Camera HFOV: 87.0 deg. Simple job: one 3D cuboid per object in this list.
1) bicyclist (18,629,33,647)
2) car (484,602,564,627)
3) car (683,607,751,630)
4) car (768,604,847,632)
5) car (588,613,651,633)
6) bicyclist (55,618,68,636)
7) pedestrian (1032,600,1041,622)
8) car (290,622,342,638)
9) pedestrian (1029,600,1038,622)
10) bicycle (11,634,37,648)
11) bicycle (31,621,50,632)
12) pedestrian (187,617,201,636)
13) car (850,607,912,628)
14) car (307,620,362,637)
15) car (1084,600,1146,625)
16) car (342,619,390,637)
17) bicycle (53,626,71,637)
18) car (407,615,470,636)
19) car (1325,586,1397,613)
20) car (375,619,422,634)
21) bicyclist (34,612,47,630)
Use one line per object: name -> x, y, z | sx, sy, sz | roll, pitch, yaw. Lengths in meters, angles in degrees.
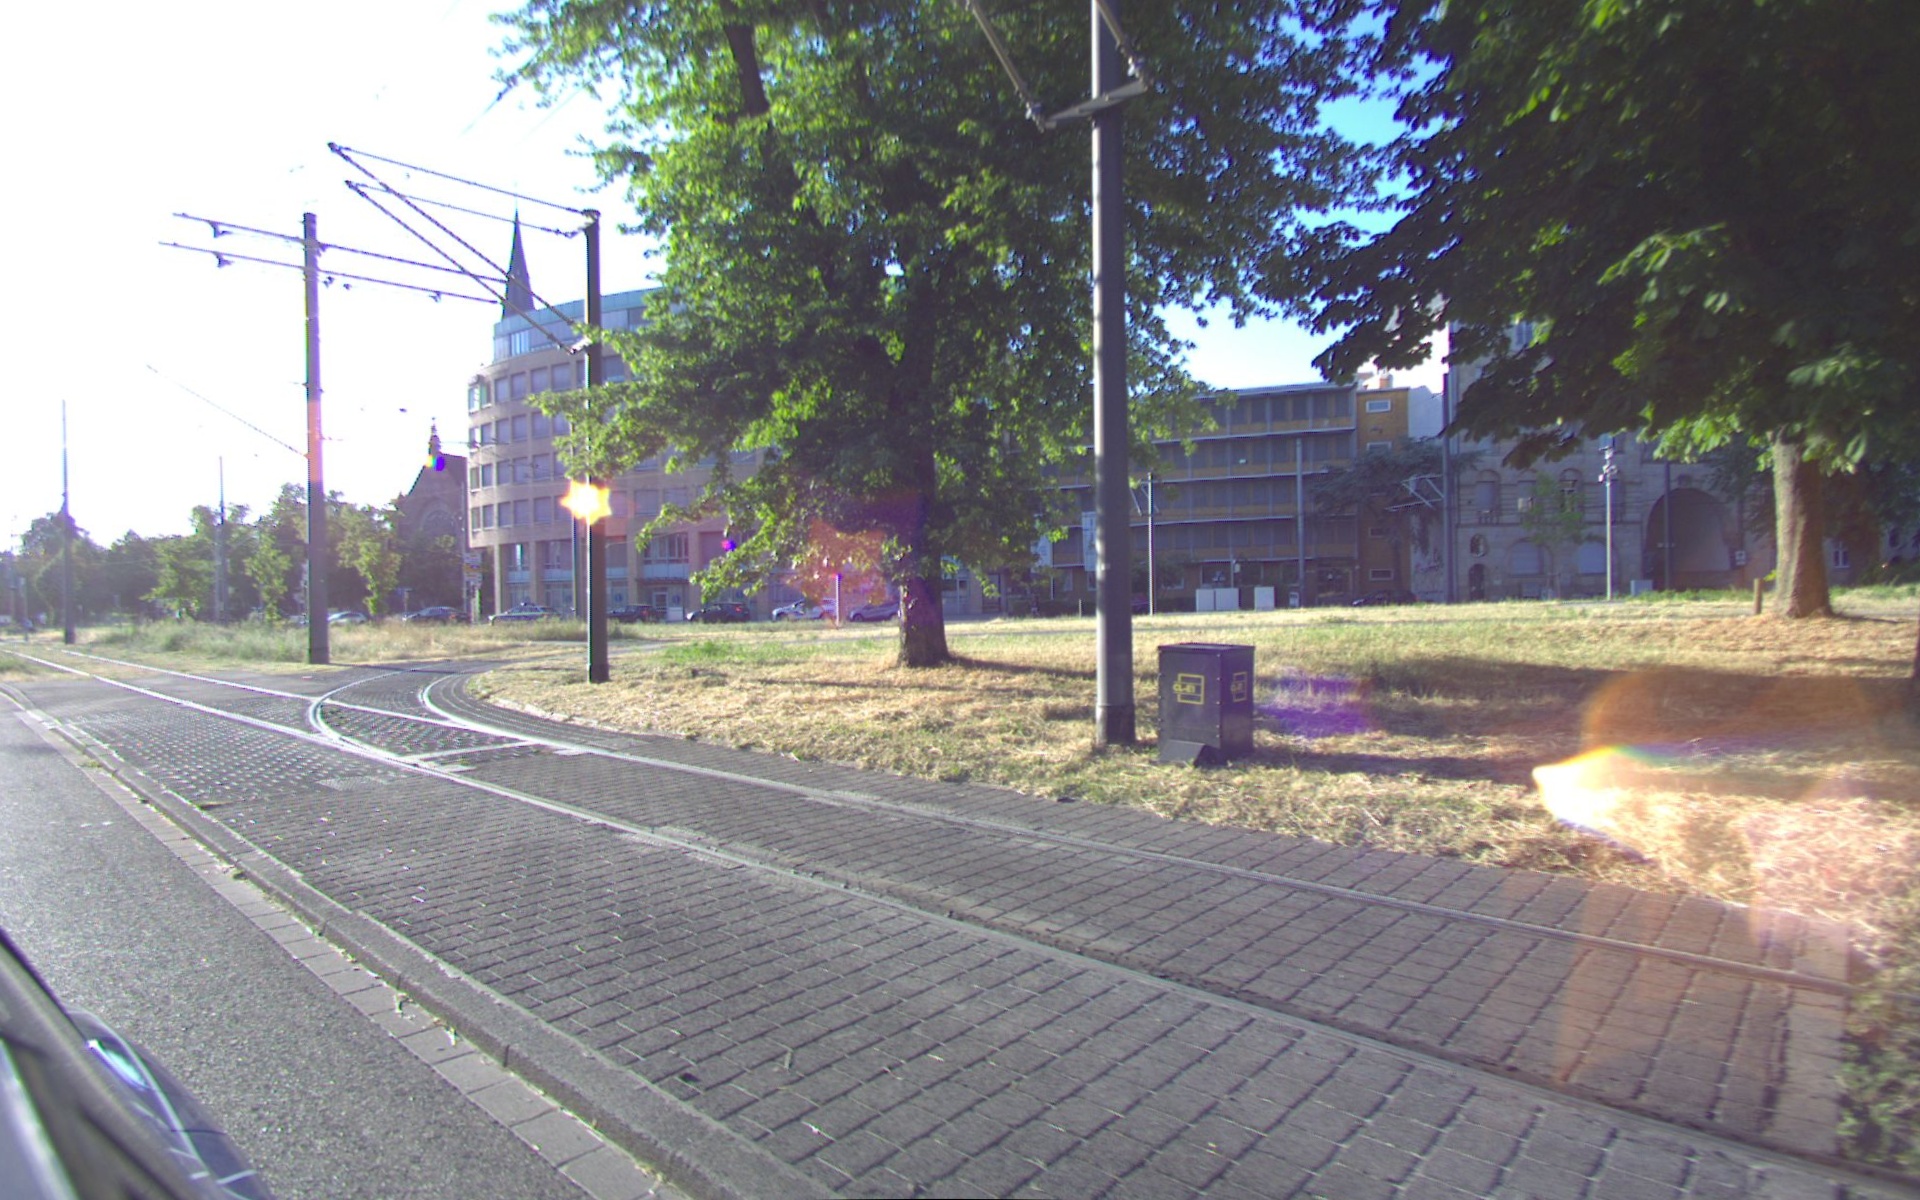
bicyclist -> -83.738, 3.400, 90.731 | 0.809, 1.595, 0.521 | -2, 1, 1
car -> -28.487, 0.923, 66.094 | 4.743, 1.491, 1.883 | -2, 0, 19
car -> -14.750, 1.137, 61.519 | 3.707, 1.291, 1.642 | -2, 0, 17
car -> -9.024, 1.048, 59.874 | 4.267, 1.493, 1.768 | -2, 0, 14
car -> -21.391, 1.454, 63.547 | 3.568, 1.162, 1.516 | -2, 0, 18
bicyclist -> -88.964, 2.671, 100.216 | 0.887, 1.693, 0.571 | -2, 1, 19
pedestrian -> 5.077, 0.727, 67.332 | 0.481, 1.441, 0.412 | -2, -1, 19
car -> -62.759, 2.952, 98.747 | 1.887, 1.431, 3.975 | -1, 0, 19
pedestrian -> 4.818, 0.747, 66.632 | 0.481, 1.441, 0.412 | -2, -1, 19
bicycle -> -83.933, 3.689, 90.726 | 1.893, 1.155, 0.460 | -2, 1, 1
bicycle -> -96.693, 2.759, 106.433 | 1.915, 1.034, 0.522 | -2, 3, 19
pedestrian -> -70.160, 2.404, 92.726 | 0.713, 1.685, 0.733 | -2, -1, 22
car -> -5.138, 1.127, 65.692 | 3.697, 1.268, 1.562 | -2, 0, 17
car -> -58.047, 2.627, 93.954 | 1.890, 1.431, 3.970 | -2, 0, 22
car -> 9.332, 0.748, 60.859 | 3.487, 1.364, 1.548 | -2, 0, 14
car -> -60.813, 2.857, 103.679 | 1.811, 1.597, 3.976 | -2, 0, 18
bicycle -> -88.934, 3.099, 100.211 | 1.915, 1.034, 0.457 | -2, 1, 20
car -> -35.350, 1.719, 68.600 | 3.759, 1.292, 1.719 | -1, 0, 19
car -> 22.725, -0.031, 57.436 | 3.481, 1.364, 1.550 | -2, 0, 9
car -> -57.430, 2.672, 103.575 | 1.887, 1.431, 3.975 | -1, 0, 19
bicyclist -> -96.630, 2.212, 106.369 | 0.887, 1.841, 0.571 | -2, 1, 19
